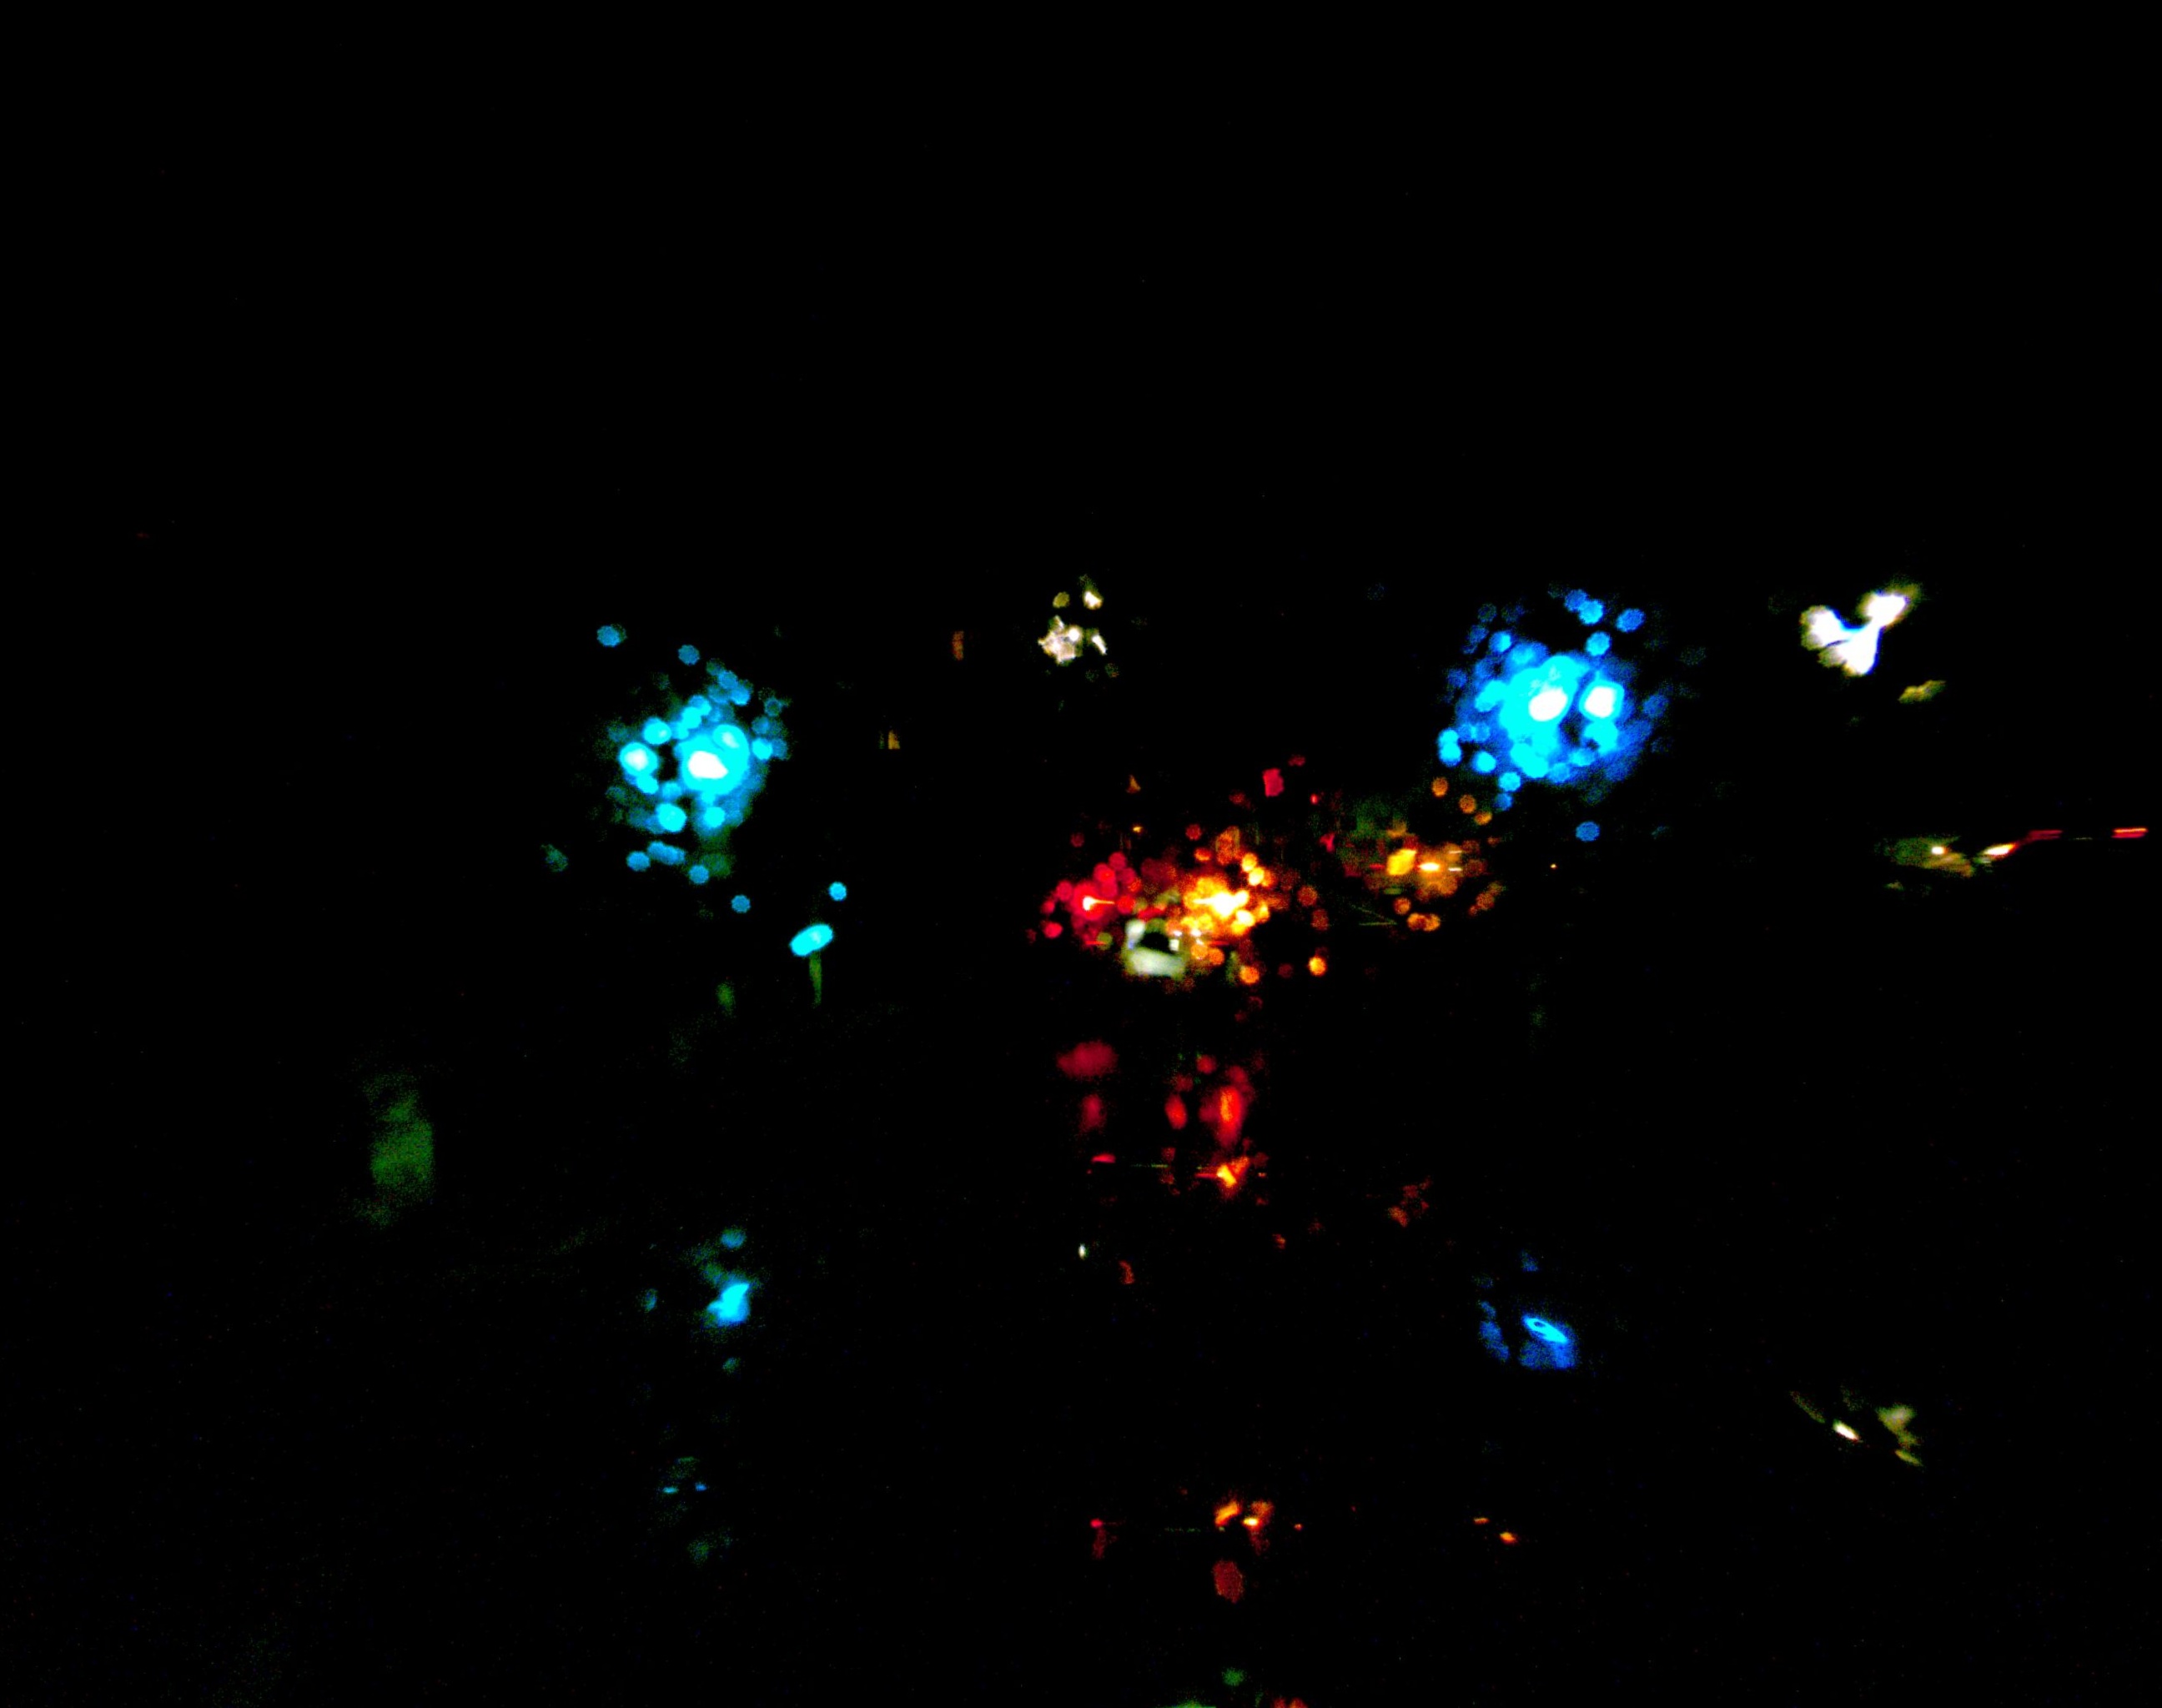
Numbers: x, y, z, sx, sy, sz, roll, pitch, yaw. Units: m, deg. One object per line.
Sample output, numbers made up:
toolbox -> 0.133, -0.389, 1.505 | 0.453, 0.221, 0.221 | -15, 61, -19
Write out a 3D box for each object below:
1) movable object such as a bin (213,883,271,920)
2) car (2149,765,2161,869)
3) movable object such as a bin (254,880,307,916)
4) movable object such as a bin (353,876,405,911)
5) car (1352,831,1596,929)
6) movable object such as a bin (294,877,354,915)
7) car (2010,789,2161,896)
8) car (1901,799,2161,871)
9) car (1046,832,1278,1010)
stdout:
movable object such as a bin -> -32.951, 1.864, 32.030 | 1.327, 1.309, 1.164 | -2, 1, -33
car -> 27.796, -0.859, 18.160 | 4.821, 2.442, 2.178 | 0, -1, 5
movable object such as a bin -> -31.692, 1.724, 32.274 | 1.236, 1.325, 1.142 | -1, 1, -31
movable object such as a bin -> -29.027, 1.623, 33.704 | 1.321, 1.298, 1.241 | -2, 2, -26
car -> 7.551, 0.434, 15.629 | 4.247, 1.510, 1.900 | -3, 0, -24
movable object such as a bin -> -30.405, 1.653, 32.744 | 1.394, 1.413, 1.241 | -1, 0, -25
car -> 20.986, -0.237, 15.530 | 4.218, 1.947, 1.780 | -1, 1, 7
car -> 21.839, -0.402, 18.571 | 4.172, 1.517, 1.983 | 1, -1, 4
car -> 1.246, 0.658, 10.058 | 2.041, 1.678, 4.157 | 1, -1, 17
